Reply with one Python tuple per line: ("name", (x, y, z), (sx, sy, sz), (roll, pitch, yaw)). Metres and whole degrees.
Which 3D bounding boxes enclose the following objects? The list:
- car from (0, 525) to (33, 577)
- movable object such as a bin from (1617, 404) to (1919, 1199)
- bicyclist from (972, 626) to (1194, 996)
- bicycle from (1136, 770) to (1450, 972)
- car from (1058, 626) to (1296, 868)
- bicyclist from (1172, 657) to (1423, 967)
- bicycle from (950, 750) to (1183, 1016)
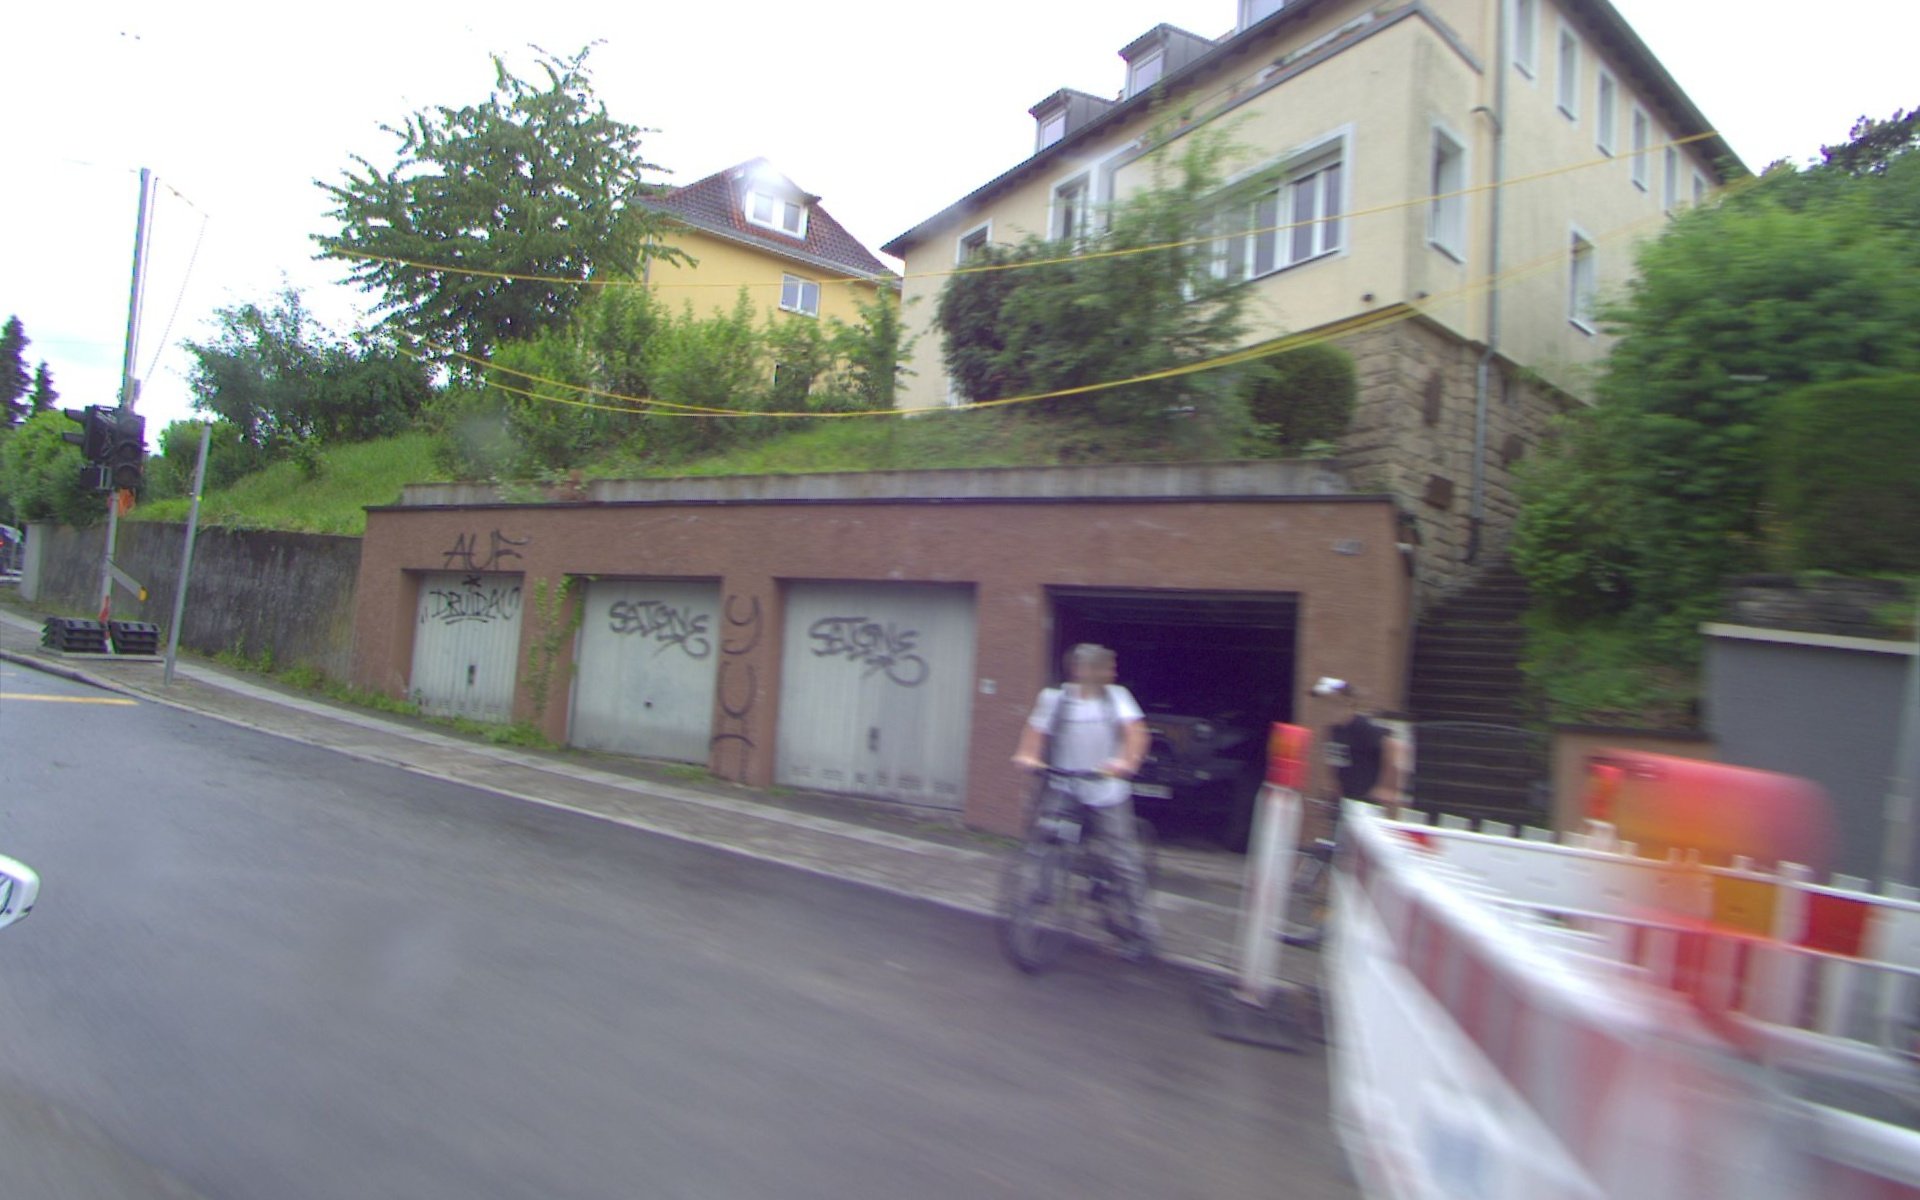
("car", (-37.002, -1.948, 38.301), (1.723, 1.790, 4.197), (7, 0, -34))
("movable object such as a bin", (5.520, 1.227, 2.866), (5.574, 2.870, 2.094), (7, -2, 24))
("bicyclist", (0.741, 1.103, 5.669), (0.915, 1.747, 1.079), (6, -3, 15))
("bicycle", (2.178, 1.716, 6.523), (1.812, 0.991, 0.926), (9, -4, -32))
("car", (2.600, 1.522, 11.072), (1.782, 2.034, 4.395), (1, -6, 22))
("bicyclist", (2.177, 1.322, 6.515), (1.066, 1.747, 0.926), (9, -3, -32))
("bicycle", (0.686, 1.436, 5.603), (0.915, 0.991, 1.888), (6, -4, 15))
